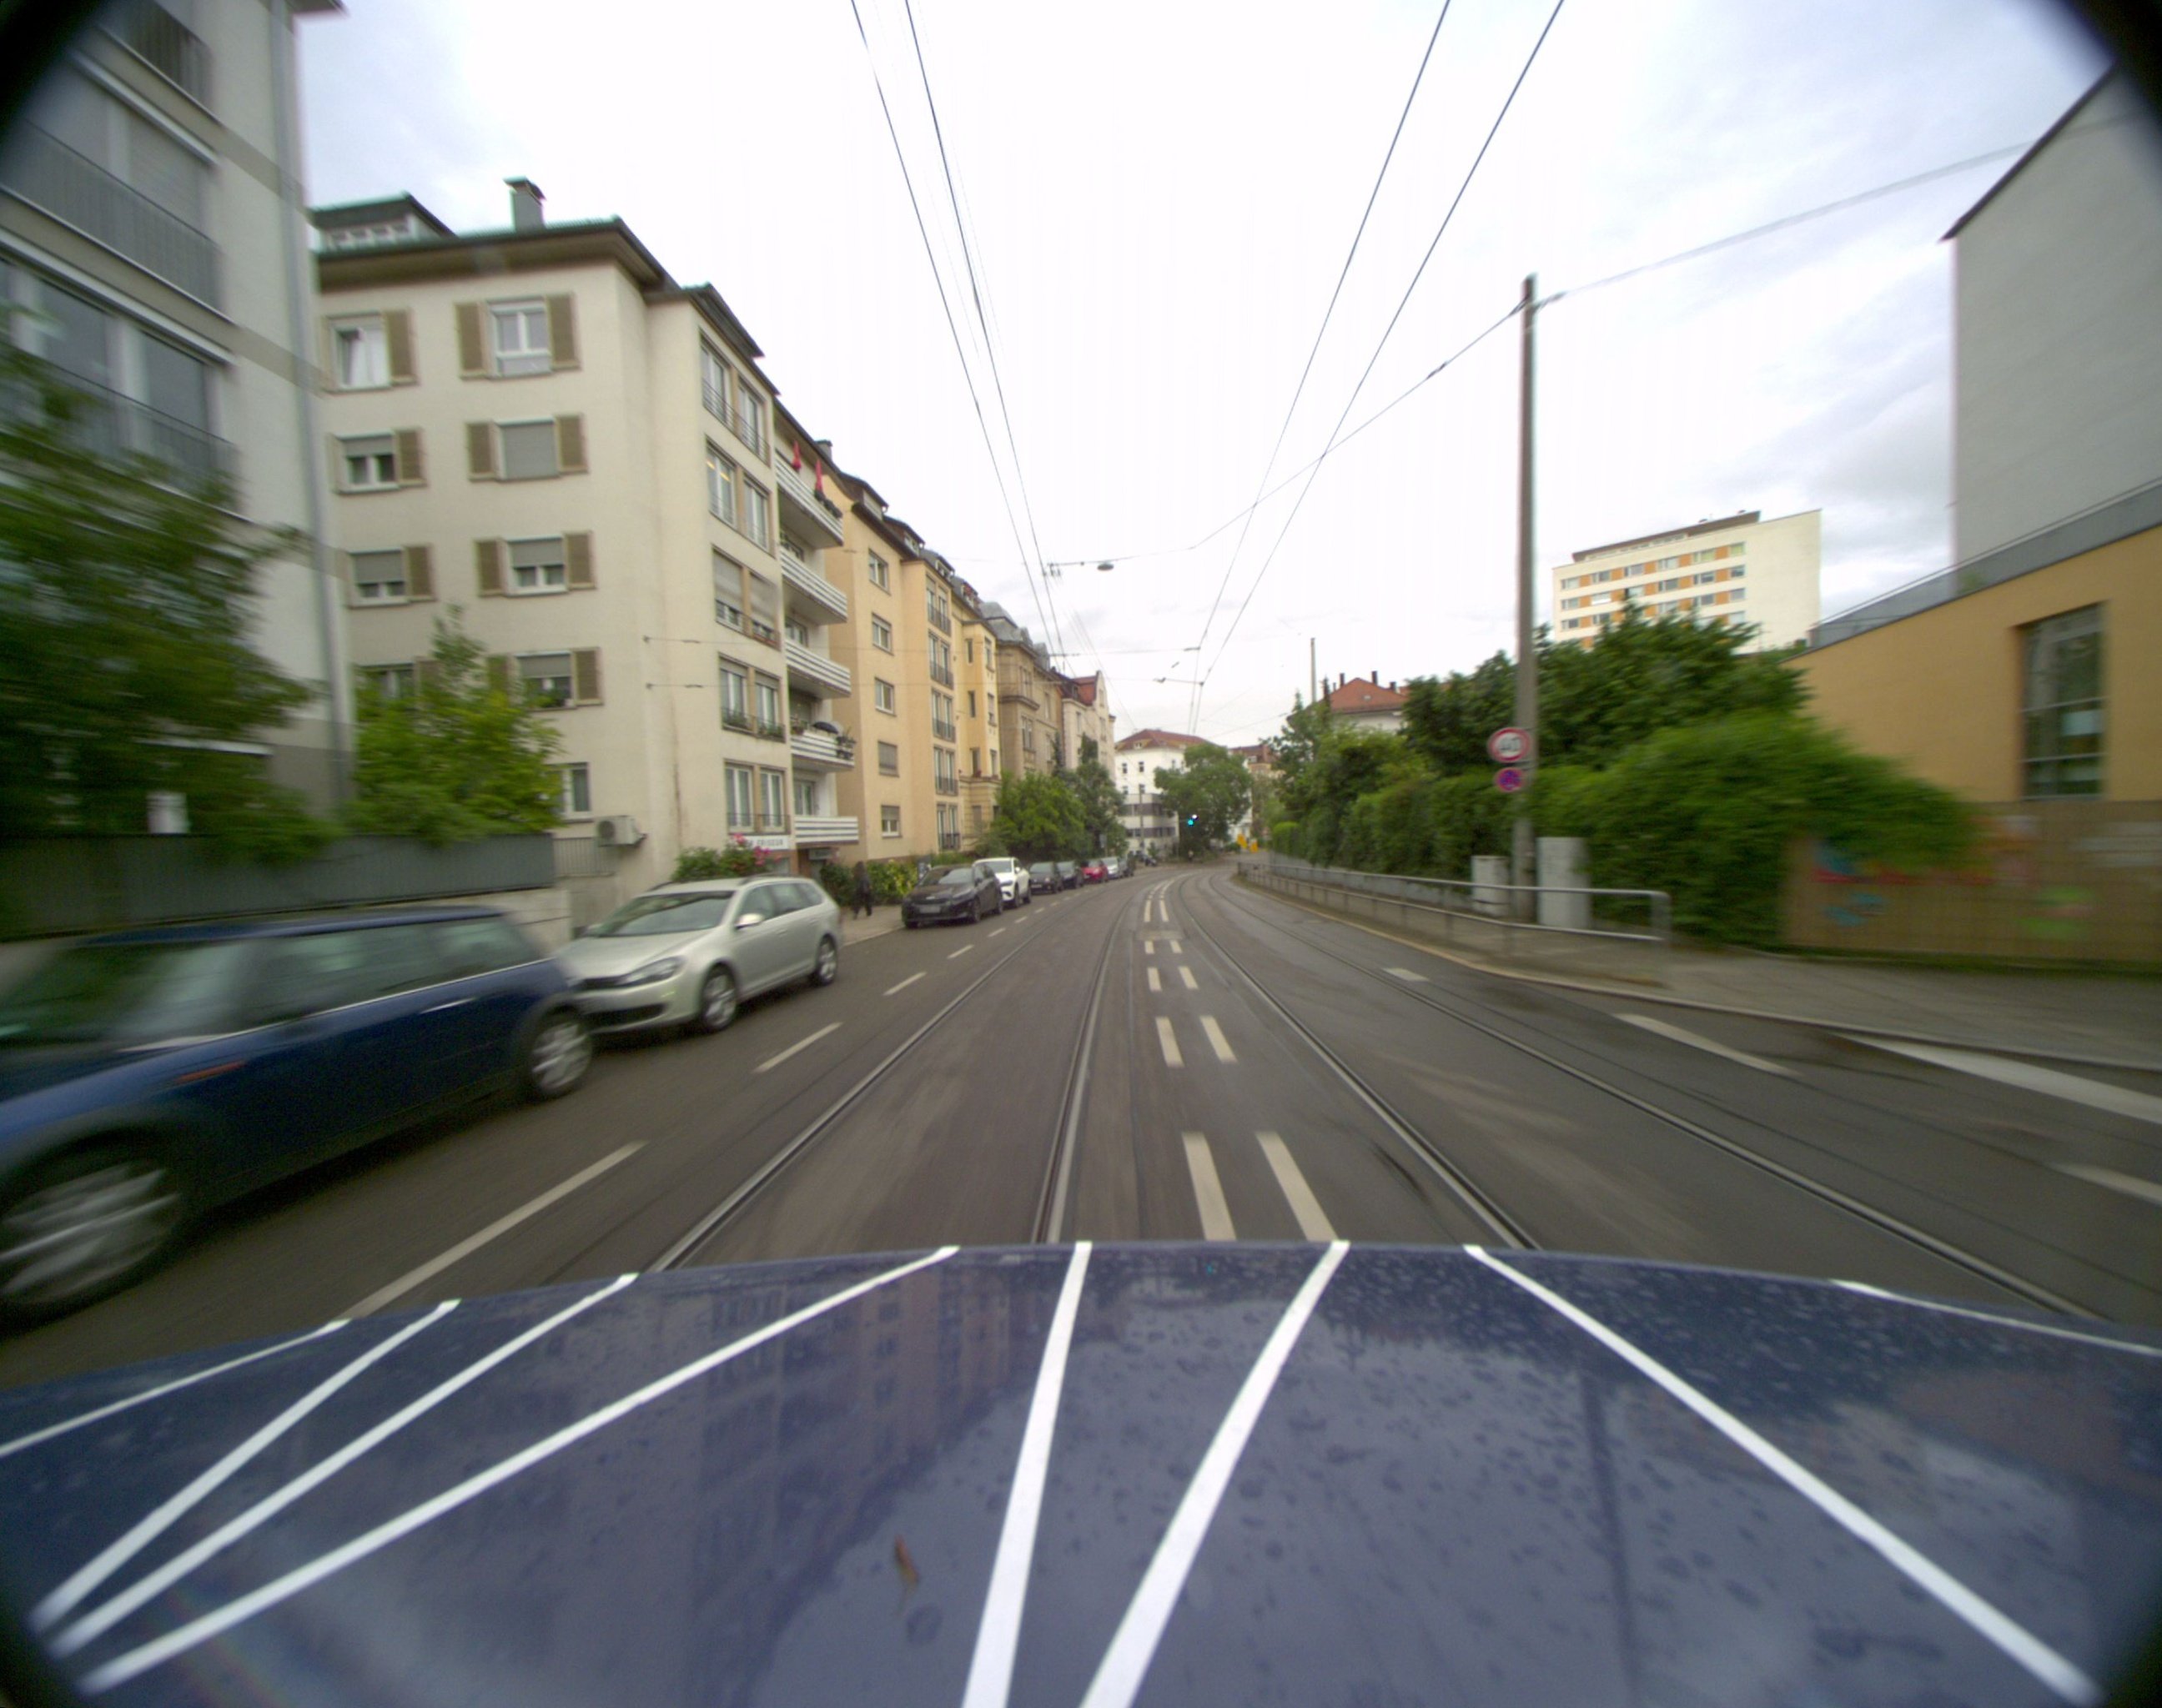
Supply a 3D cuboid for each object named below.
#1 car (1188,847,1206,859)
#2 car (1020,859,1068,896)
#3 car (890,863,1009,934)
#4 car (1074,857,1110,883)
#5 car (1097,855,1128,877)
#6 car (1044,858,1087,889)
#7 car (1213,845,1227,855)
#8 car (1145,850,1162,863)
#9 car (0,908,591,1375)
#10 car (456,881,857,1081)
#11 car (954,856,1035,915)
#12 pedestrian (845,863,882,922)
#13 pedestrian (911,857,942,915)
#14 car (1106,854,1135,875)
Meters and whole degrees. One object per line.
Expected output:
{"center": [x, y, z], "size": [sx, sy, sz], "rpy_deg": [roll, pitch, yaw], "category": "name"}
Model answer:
{"center": [16.238, -0.123, 106.222], "size": [1.796, 1.502, 4.004], "rpy_deg": [-2, 1, 18], "category": "car"}
{"center": [-1.599, 0.997, 33.869], "size": [1.590, 1.434, 3.477], "rpy_deg": [-4, 0, 5], "category": "car"}
{"center": [-3.230, 1.063, 19.562], "size": [1.798, 1.444, 4.105], "rpy_deg": [-4, 0, 7], "category": "car"}
{"center": [0.729, 0.957, 46.304], "size": [1.556, 1.360, 3.126], "rpy_deg": [-4, 0, 11], "category": "car"}
{"center": [2.306, 0.846, 55.254], "size": [1.613, 1.434, 3.691], "rpy_deg": [-4, 0, 11], "category": "car"}
{"center": [-0.753, 0.971, 38.855], "size": [1.658, 1.360, 3.637], "rpy_deg": [-4, 0, 6], "category": "car"}
{"center": [22.967, -0.679, 125.398], "size": [1.796, 1.502, 4.004], "rpy_deg": [-2, 1, 18], "category": "car"}
{"center": [9.326, 0.307, 97.656], "size": [1.613, 1.434, 3.691], "rpy_deg": [-4, 0, 11], "category": "car"}
{"center": [-4.495, 1.132, 3.839], "size": [1.600, 1.415, 3.515], "rpy_deg": [-3, -1, 2], "category": "car"}
{"center": [-4.199, 1.143, 8.523], "size": [1.722, 1.458, 4.392], "rpy_deg": [-3, -1, 4], "category": "car"}
{"center": [-2.690, 0.953, 24.505], "size": [1.798, 1.612, 3.868], "rpy_deg": [-4, 0, 4], "category": "car"}
{"center": [-5.948, 1.032, 20.812], "size": [0.667, 1.560, 0.915], "rpy_deg": [0, 1, 8], "category": "pedestrian"}
{"center": [-4.556, 0.928, 22.466], "size": [0.716, 1.703, 0.665], "rpy_deg": [0, 1, 8], "category": "pedestrian"}
{"center": [3.159, 0.789, 60.020], "size": [1.613, 1.434, 3.691], "rpy_deg": [-4, 0, 11], "category": "car"}
